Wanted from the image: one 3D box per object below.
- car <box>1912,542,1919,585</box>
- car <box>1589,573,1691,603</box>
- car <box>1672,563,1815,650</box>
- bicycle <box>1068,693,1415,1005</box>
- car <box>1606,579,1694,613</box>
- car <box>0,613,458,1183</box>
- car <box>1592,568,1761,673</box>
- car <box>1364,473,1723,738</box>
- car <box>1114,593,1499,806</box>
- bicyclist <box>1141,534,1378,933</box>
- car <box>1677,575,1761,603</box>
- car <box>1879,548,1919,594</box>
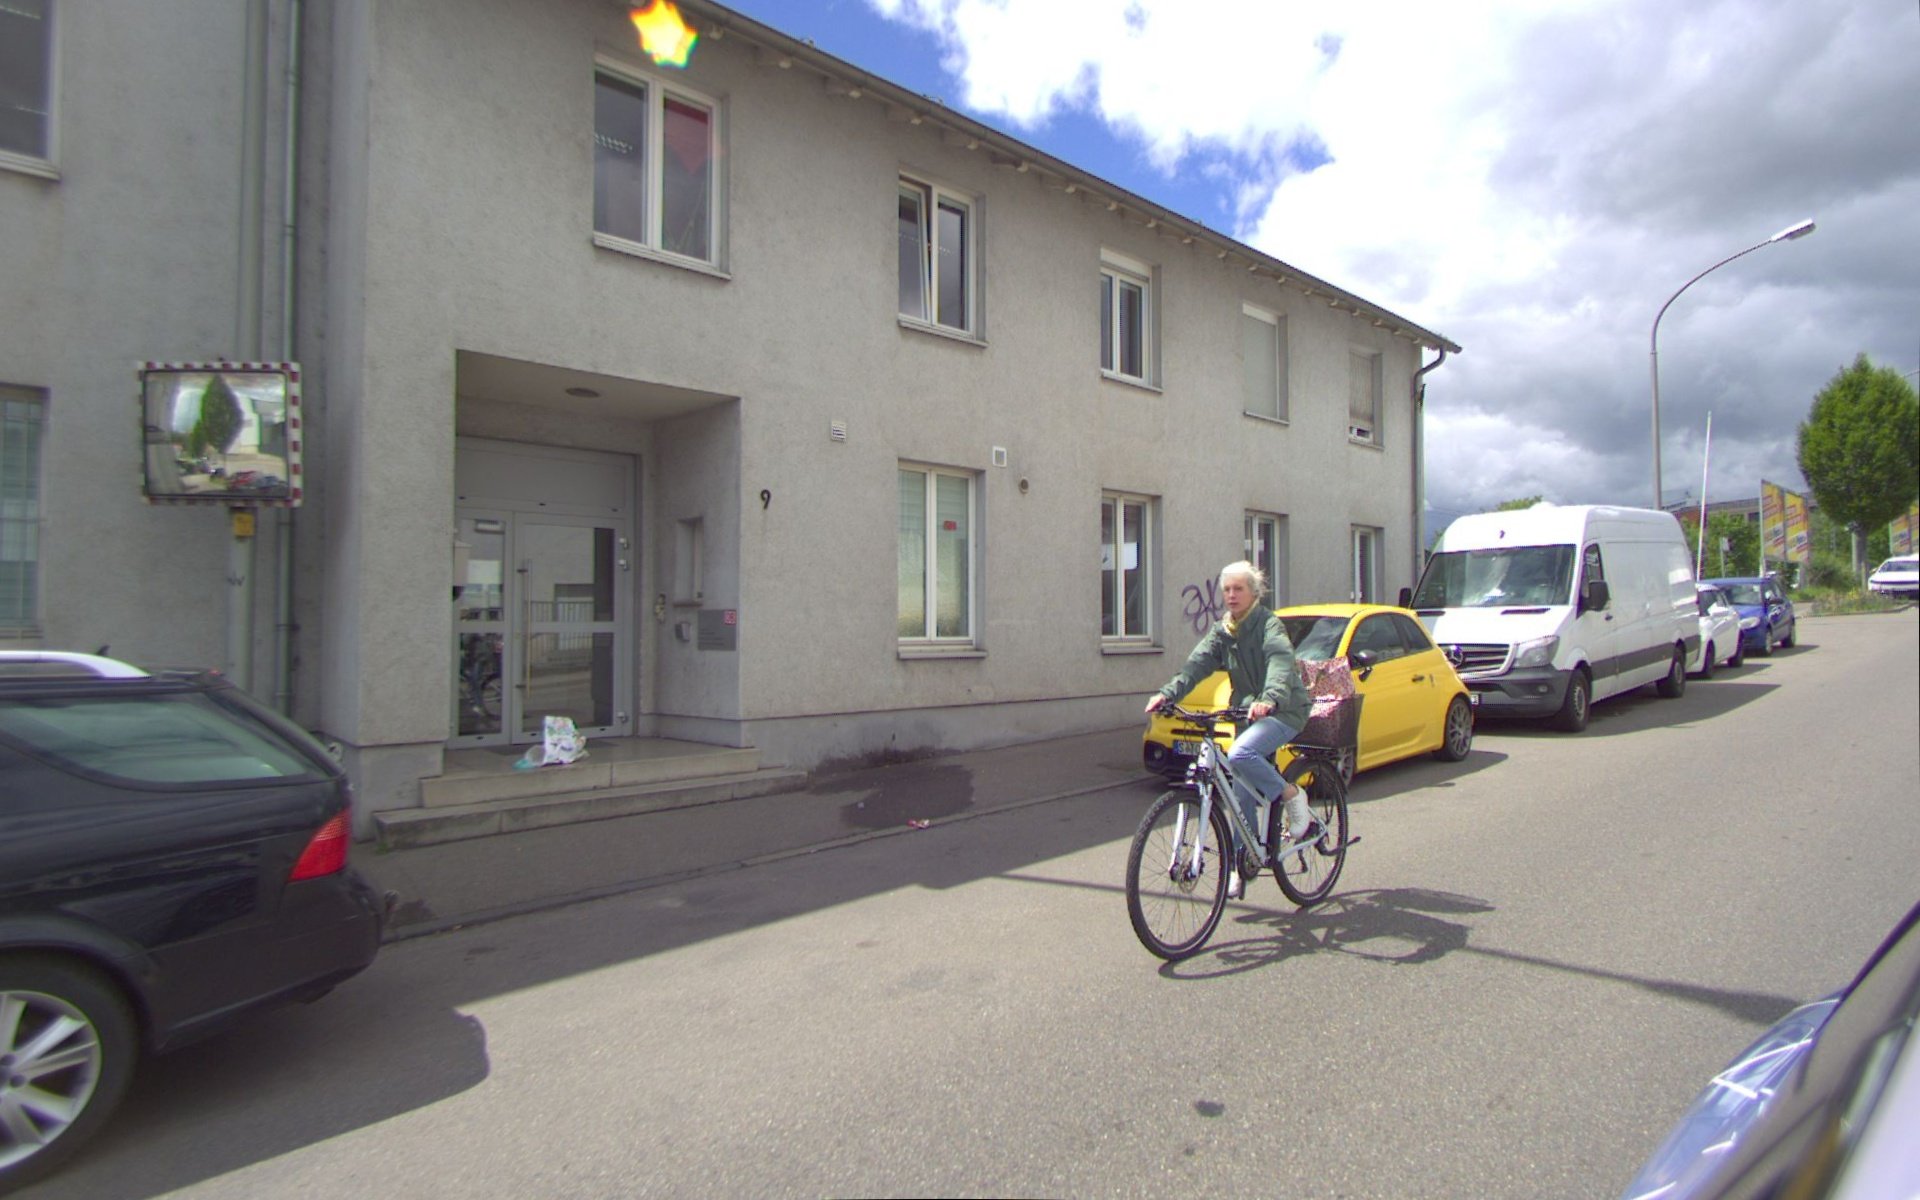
[{"bbox_3d":[40.115,-1.553,41.080,4.403,1.680,1.688,-3,2,-41],"label":"car"},{"bbox_3d":[38.860,-0.655,57.970,1.959,1.574,4.469,-2,1,-22],"label":"car"},{"bbox_3d":[16.017,0.079,20.629,4.025,1.529,1.569,-3,1,-42],"label":"car"},{"bbox_3d":[1.339,1.005,4.627,1.703,0.987,0.740,-1,-1,-44],"label":"bicycle"},{"bbox_3d":[35.329,-0.258,51.815,4.489,1.536,1.760,-3,2,-26],"label":"car"},{"bbox_3d":[-4.169,0.848,2.488,5.000,1.530,1.706,0,-3,-42],"label":"car"},{"bbox_3d":[12.268,0.285,17.250,3.727,1.529,1.594,-3,1,-43],"label":"car"},{"bbox_3d":[8.025,-0.047,13.400,7.162,2.674,2.035,-3,0,-43],"label":"car"},{"bbox_3d":[3.237,0.723,9.125,3.724,1.466,1.595,-2,0,-41],"label":"car"},{"bbox_3d":[1.387,0.545,4.696,0.719,1.647,0.740,-3,0,-44],"label":"bicyclist"},{"bbox_3d":[45.631,-0.664,60.958,1.752,1.559,4.004,-2,1,-5],"label":"car"},{"bbox_3d":[35.408,-1.093,37.166,4.387,1.584,1.846,-3,3,-39],"label":"car"}]
